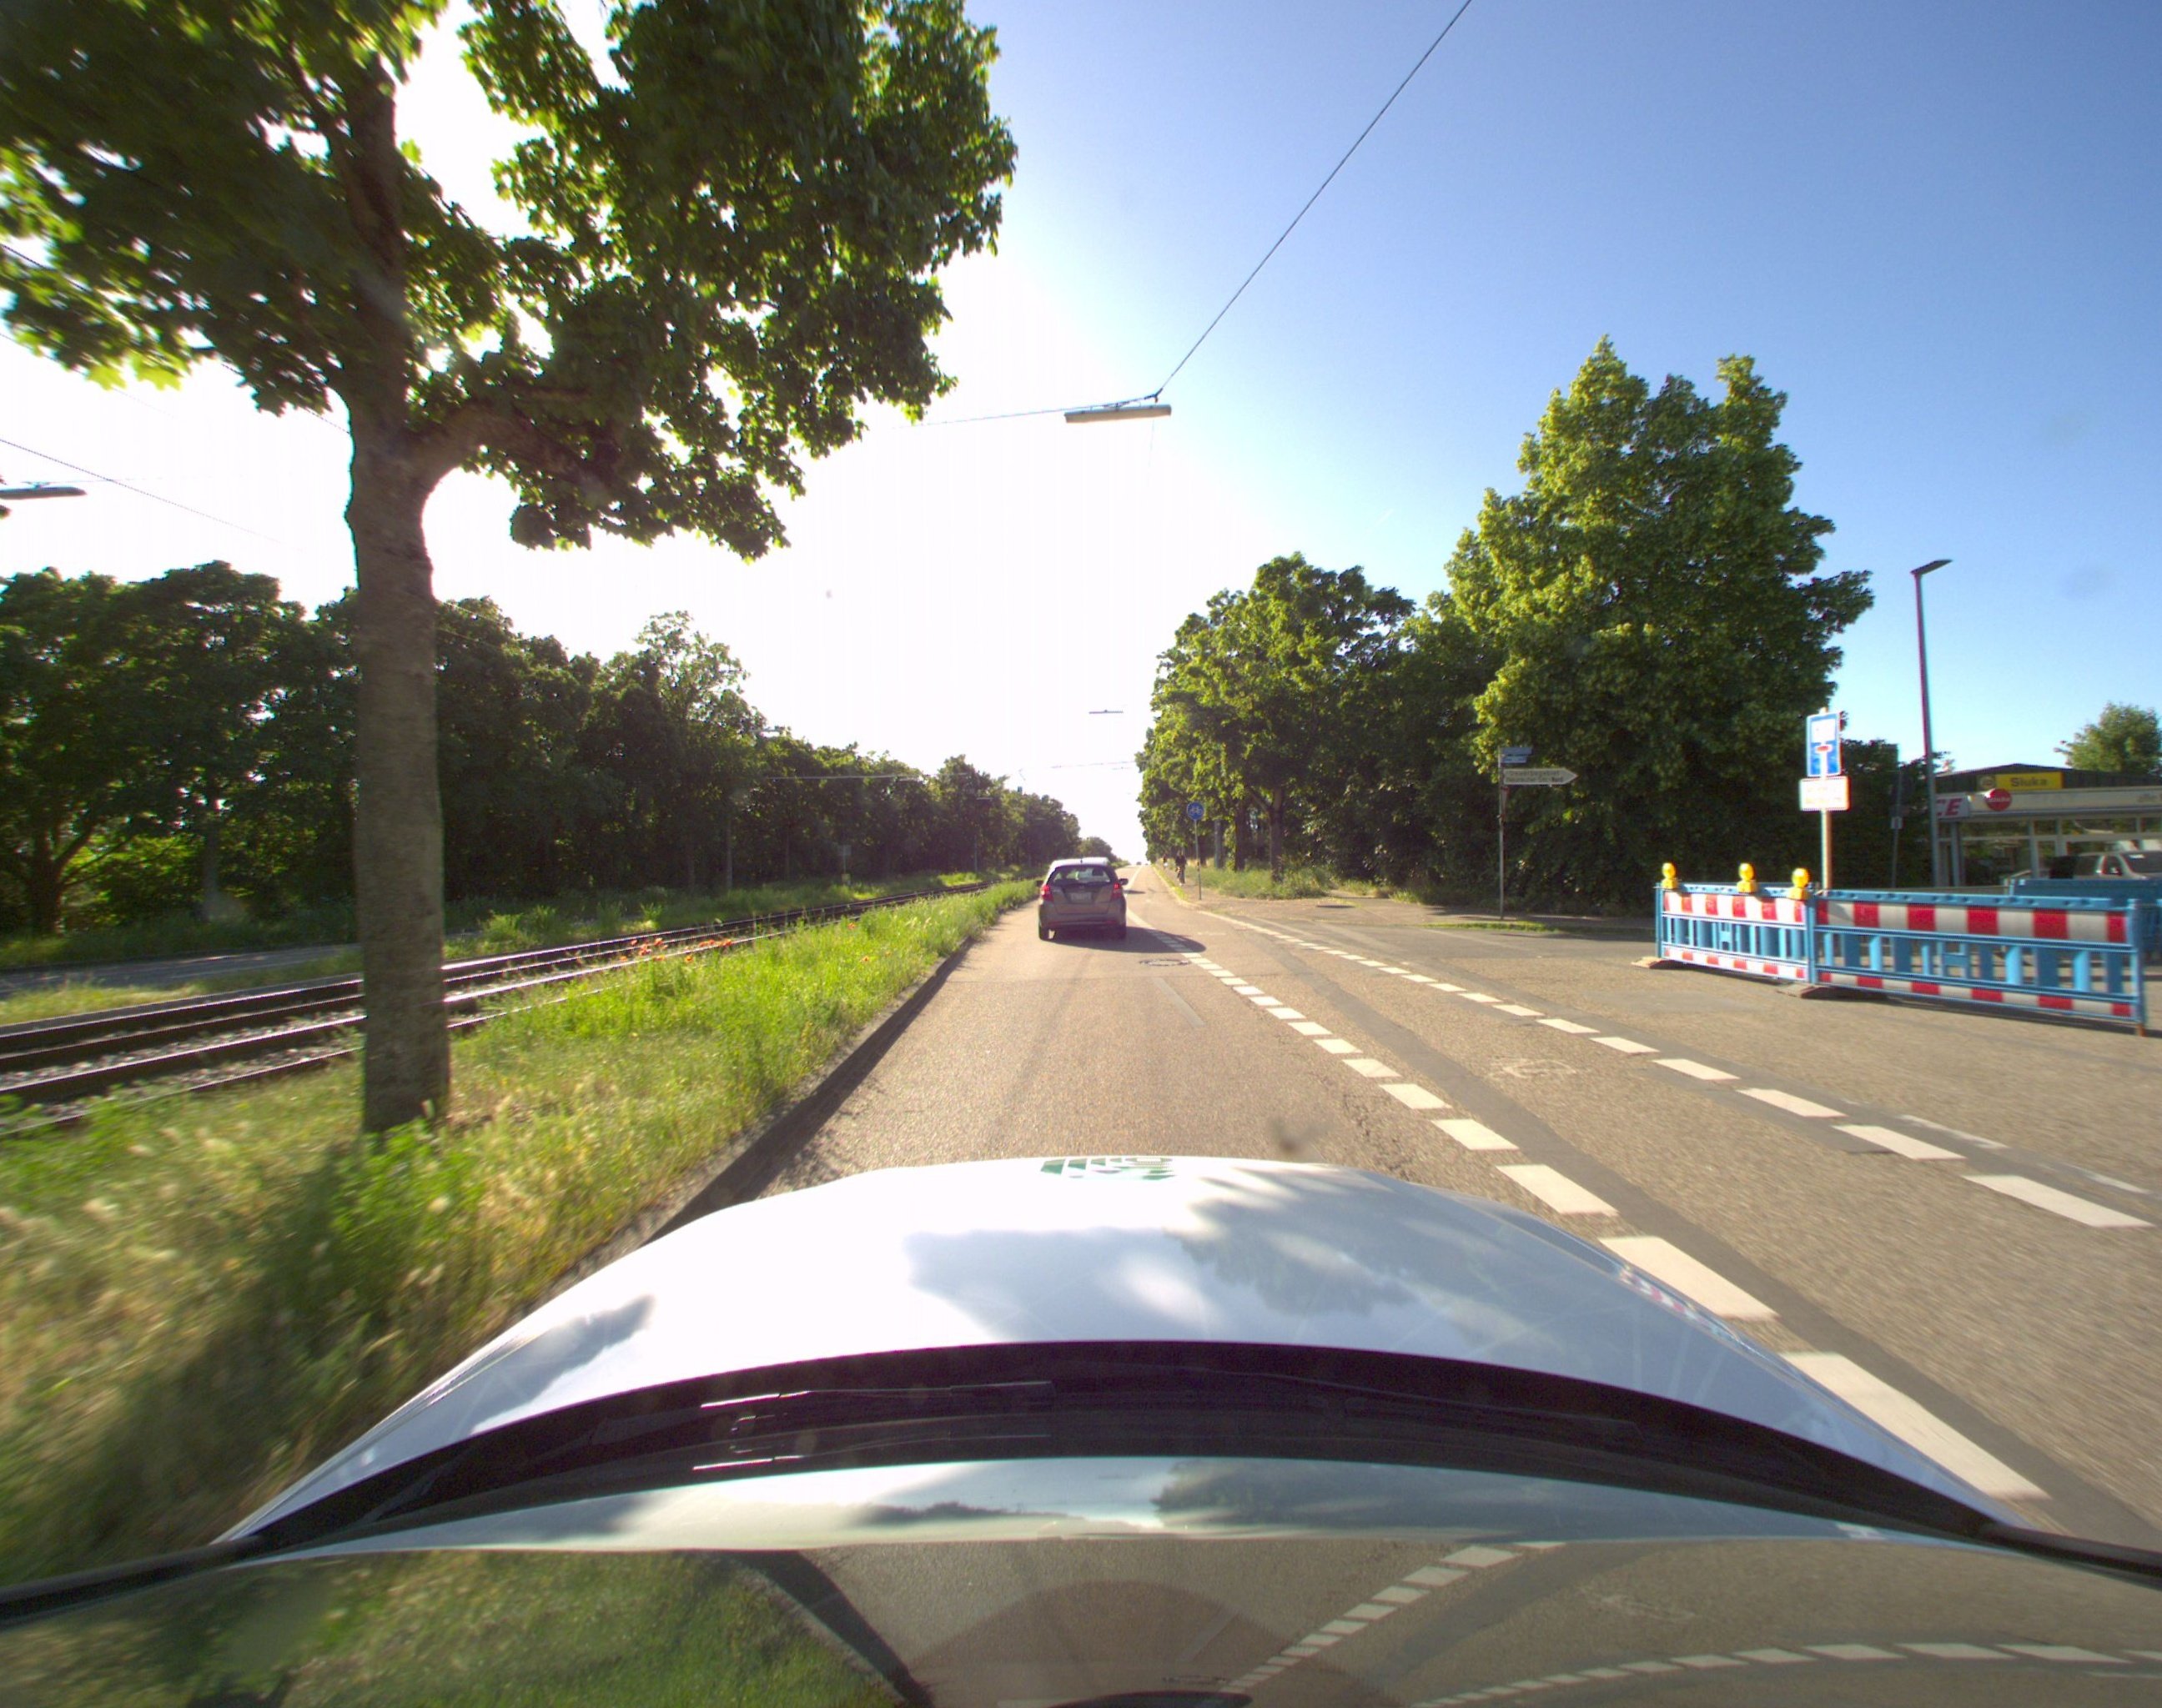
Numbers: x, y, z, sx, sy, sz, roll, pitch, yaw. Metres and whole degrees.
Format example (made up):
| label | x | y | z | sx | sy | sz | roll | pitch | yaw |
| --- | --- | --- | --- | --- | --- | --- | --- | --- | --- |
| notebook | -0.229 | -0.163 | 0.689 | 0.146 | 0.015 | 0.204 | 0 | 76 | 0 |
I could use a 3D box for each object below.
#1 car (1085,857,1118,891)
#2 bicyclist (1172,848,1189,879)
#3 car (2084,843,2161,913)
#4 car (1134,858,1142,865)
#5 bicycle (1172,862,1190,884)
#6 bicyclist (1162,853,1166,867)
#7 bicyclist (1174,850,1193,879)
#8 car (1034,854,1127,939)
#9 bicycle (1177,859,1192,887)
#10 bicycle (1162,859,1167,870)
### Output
| label | x | y | z | sx | sy | sz | roll | pitch | yaw |
| --- | --- | --- | --- | --- | --- | --- | --- | --- | --- |
| car | 0.938 | 0.963 | 38.623 | 1.348 | 1.528 | 3.121 | -2 | -2 | -2 |
| bicyclist | 4.981 | 0.501 | 40.772 | 0.814 | 1.524 | 0.967 | -1 | -2 | 5 |
| car | 27.442 | 0.566 | 20.754 | 1.666 | 1.663 | 3.795 | -2 | -1 | 41 |
| car | 17.977 | 2.316 | 257.136 | 1.984 | 2.013 | 4.006 | -6 | -2 | 5 |
| bicycle | 4.974 | 0.954 | 40.736 | 0.813 | 1.048 | 2.509 | -1 | -2 | 6 |
| bicyclist | 9.152 | 0.647 | 89.505 | 0.403 | 1.507 | 0.575 | -1 | -1 | 4 |
| bicyclist | 5.104 | 0.519 | 40.705 | 0.753 | 1.368 | 0.806 | -3 | 0 | -2 |
| car | 0.019 | 0.773 | 16.618 | 1.665 | 1.515 | 3.674 | 0 | 0 | 1 |
| bicycle | 5.156 | 0.925 | 40.540 | 0.615 | 1.190 | 2.511 | -6 | 2 | 7 |
| bicycle | 9.141 | 1.119 | 89.320 | 0.416 | 1.188 | 1.723 | -2 | -1 | 4 |
